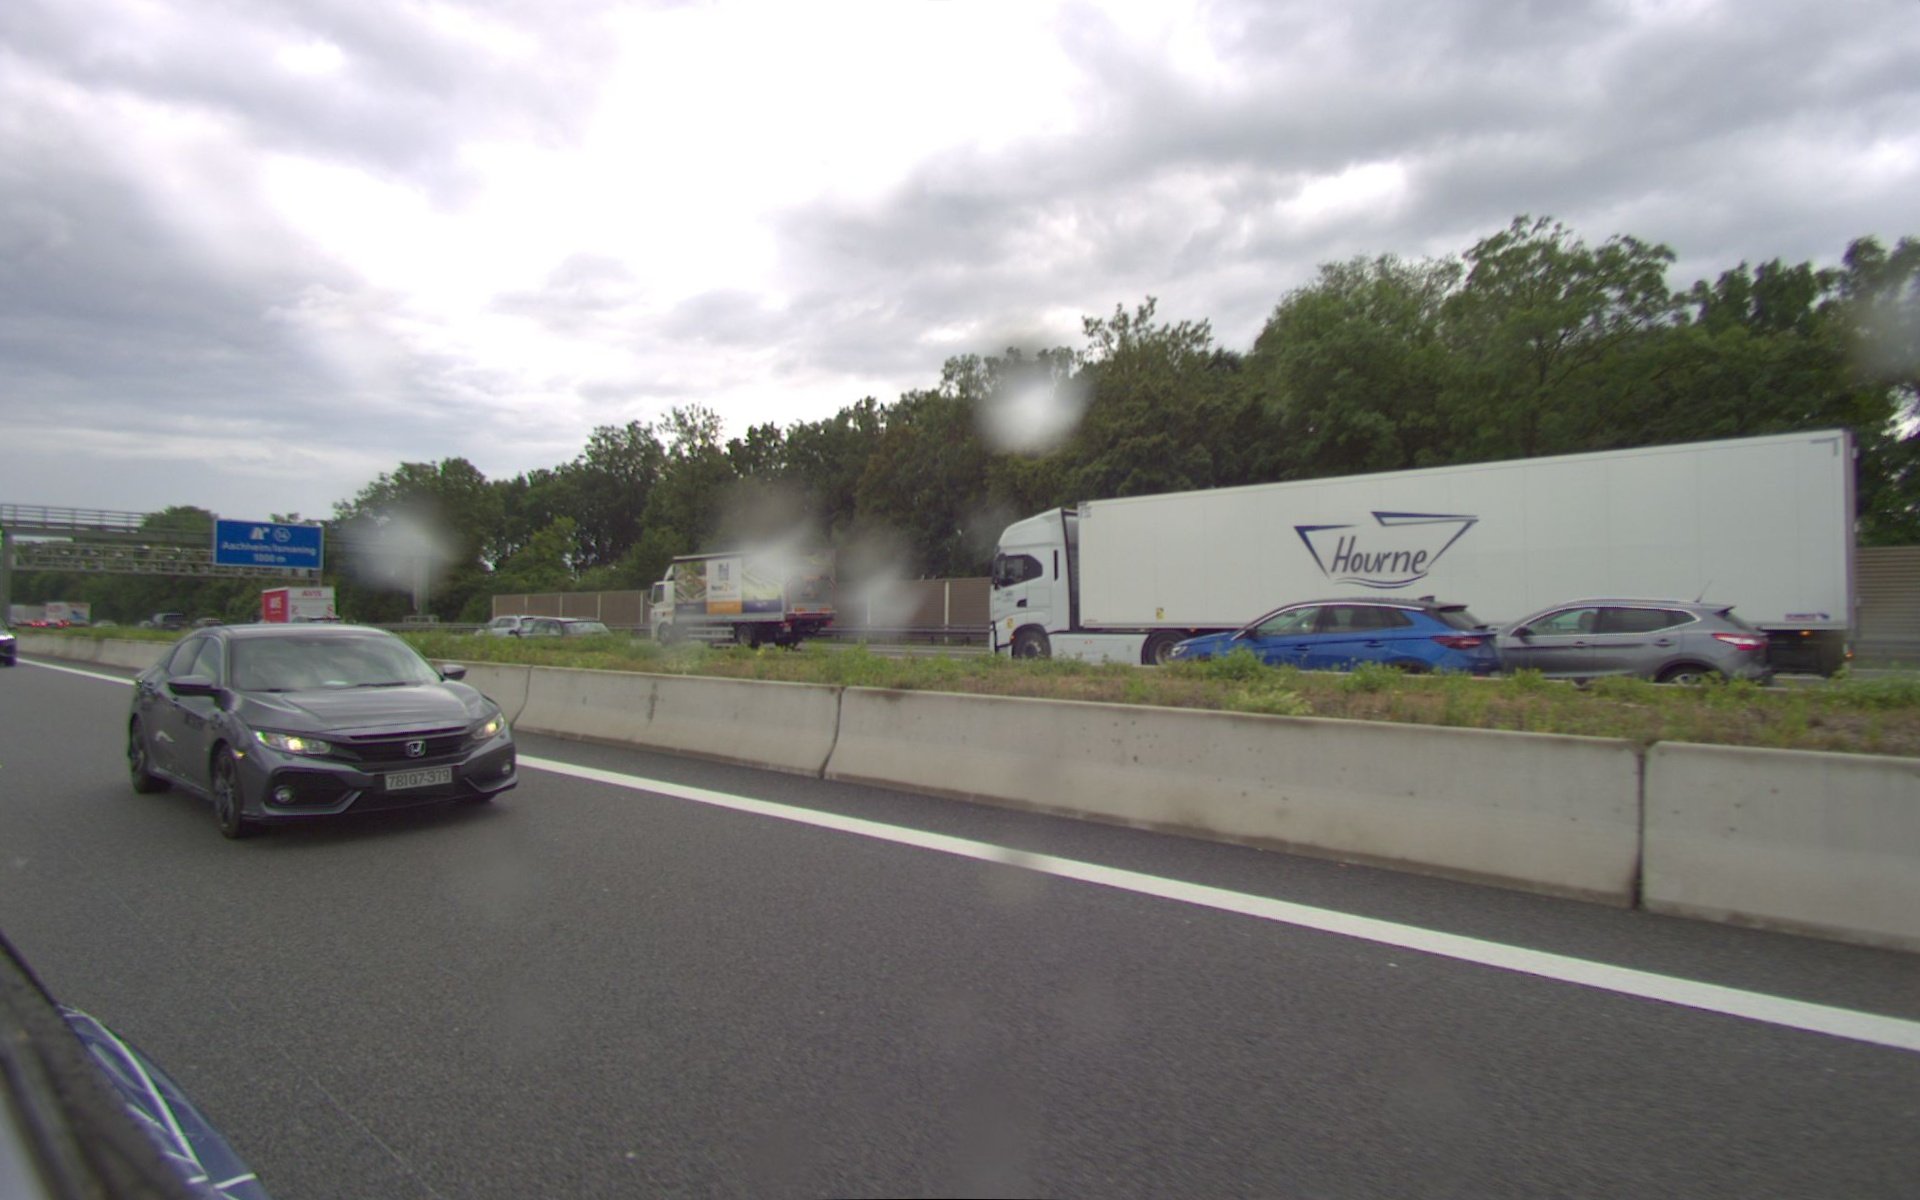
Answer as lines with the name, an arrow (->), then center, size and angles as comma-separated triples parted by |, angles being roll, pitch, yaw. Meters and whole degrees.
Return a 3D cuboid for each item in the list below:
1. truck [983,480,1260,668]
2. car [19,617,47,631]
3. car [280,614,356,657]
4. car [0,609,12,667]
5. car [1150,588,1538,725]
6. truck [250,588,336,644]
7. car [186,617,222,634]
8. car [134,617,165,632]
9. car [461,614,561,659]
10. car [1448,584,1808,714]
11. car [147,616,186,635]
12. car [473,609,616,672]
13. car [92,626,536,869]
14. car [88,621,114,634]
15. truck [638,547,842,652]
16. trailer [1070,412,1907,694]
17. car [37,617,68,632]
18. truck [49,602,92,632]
truck -> 3.720, -0.522, 24.125 | 6.001, 3.915, 2.697 | -1, 0, 41
car -> -107.535, 2.724, 117.435 | 3.998, 1.548, 1.973 | -1, 0, 41
car -> -25.072, 1.344, 39.469 | 3.546, 1.548, 1.572 | -1, 0, 41
car -> -30.836, 1.153, 31.348 | 5.170, 1.704, 1.887 | -1, -1, 44
car -> 5.028, 0.654, 13.669 | 4.581, 1.548, 1.747 | -1, 0, 41
truck -> -35.957, 0.833, 54.498 | 6.246, 2.849, 2.305 | -1, 0, 41
car -> -71.448, 2.359, 95.625 | 3.998, 1.548, 1.973 | -1, 0, 41
car -> -87.874, 2.606, 109.738 | 3.998, 1.548, 1.973 | -1, 0, 41
car -> -17.121, 1.340, 38.491 | 4.581, 1.548, 1.747 | -1, 0, 41
car -> 9.206, 0.599, 14.120 | 3.998, 1.548, 1.740 | -1, 0, 41
car -> -69.095, 2.220, 88.140 | 3.998, 1.548, 1.973 | -1, 0, 41
car -> -11.229, 1.035, 27.246 | 3.998, 1.548, 1.973 | -1, 0, 41
car -> -5.505, 0.920, 8.271 | 5.058, 1.379, 1.742 | -1, -1, 41
car -> -107.379, 3.390, 126.521 | 3.998, 1.548, 1.973 | -1, 0, 41
truck -> -9.244, 0.028, 41.515 | 10.003, 3.863, 2.770 | -1, 0, 41
trailer -> 8.716, -0.590, 19.711 | 14.046, 3.915, 2.697 | -1, 0, 41
car -> -94.790, 2.533, 105.676 | 3.998, 1.548, 1.973 | -1, 0, 41
truck -> -123.629, 2.355, 140.553 | 10.838, 4.059, 3.161 | -1, 0, 41
